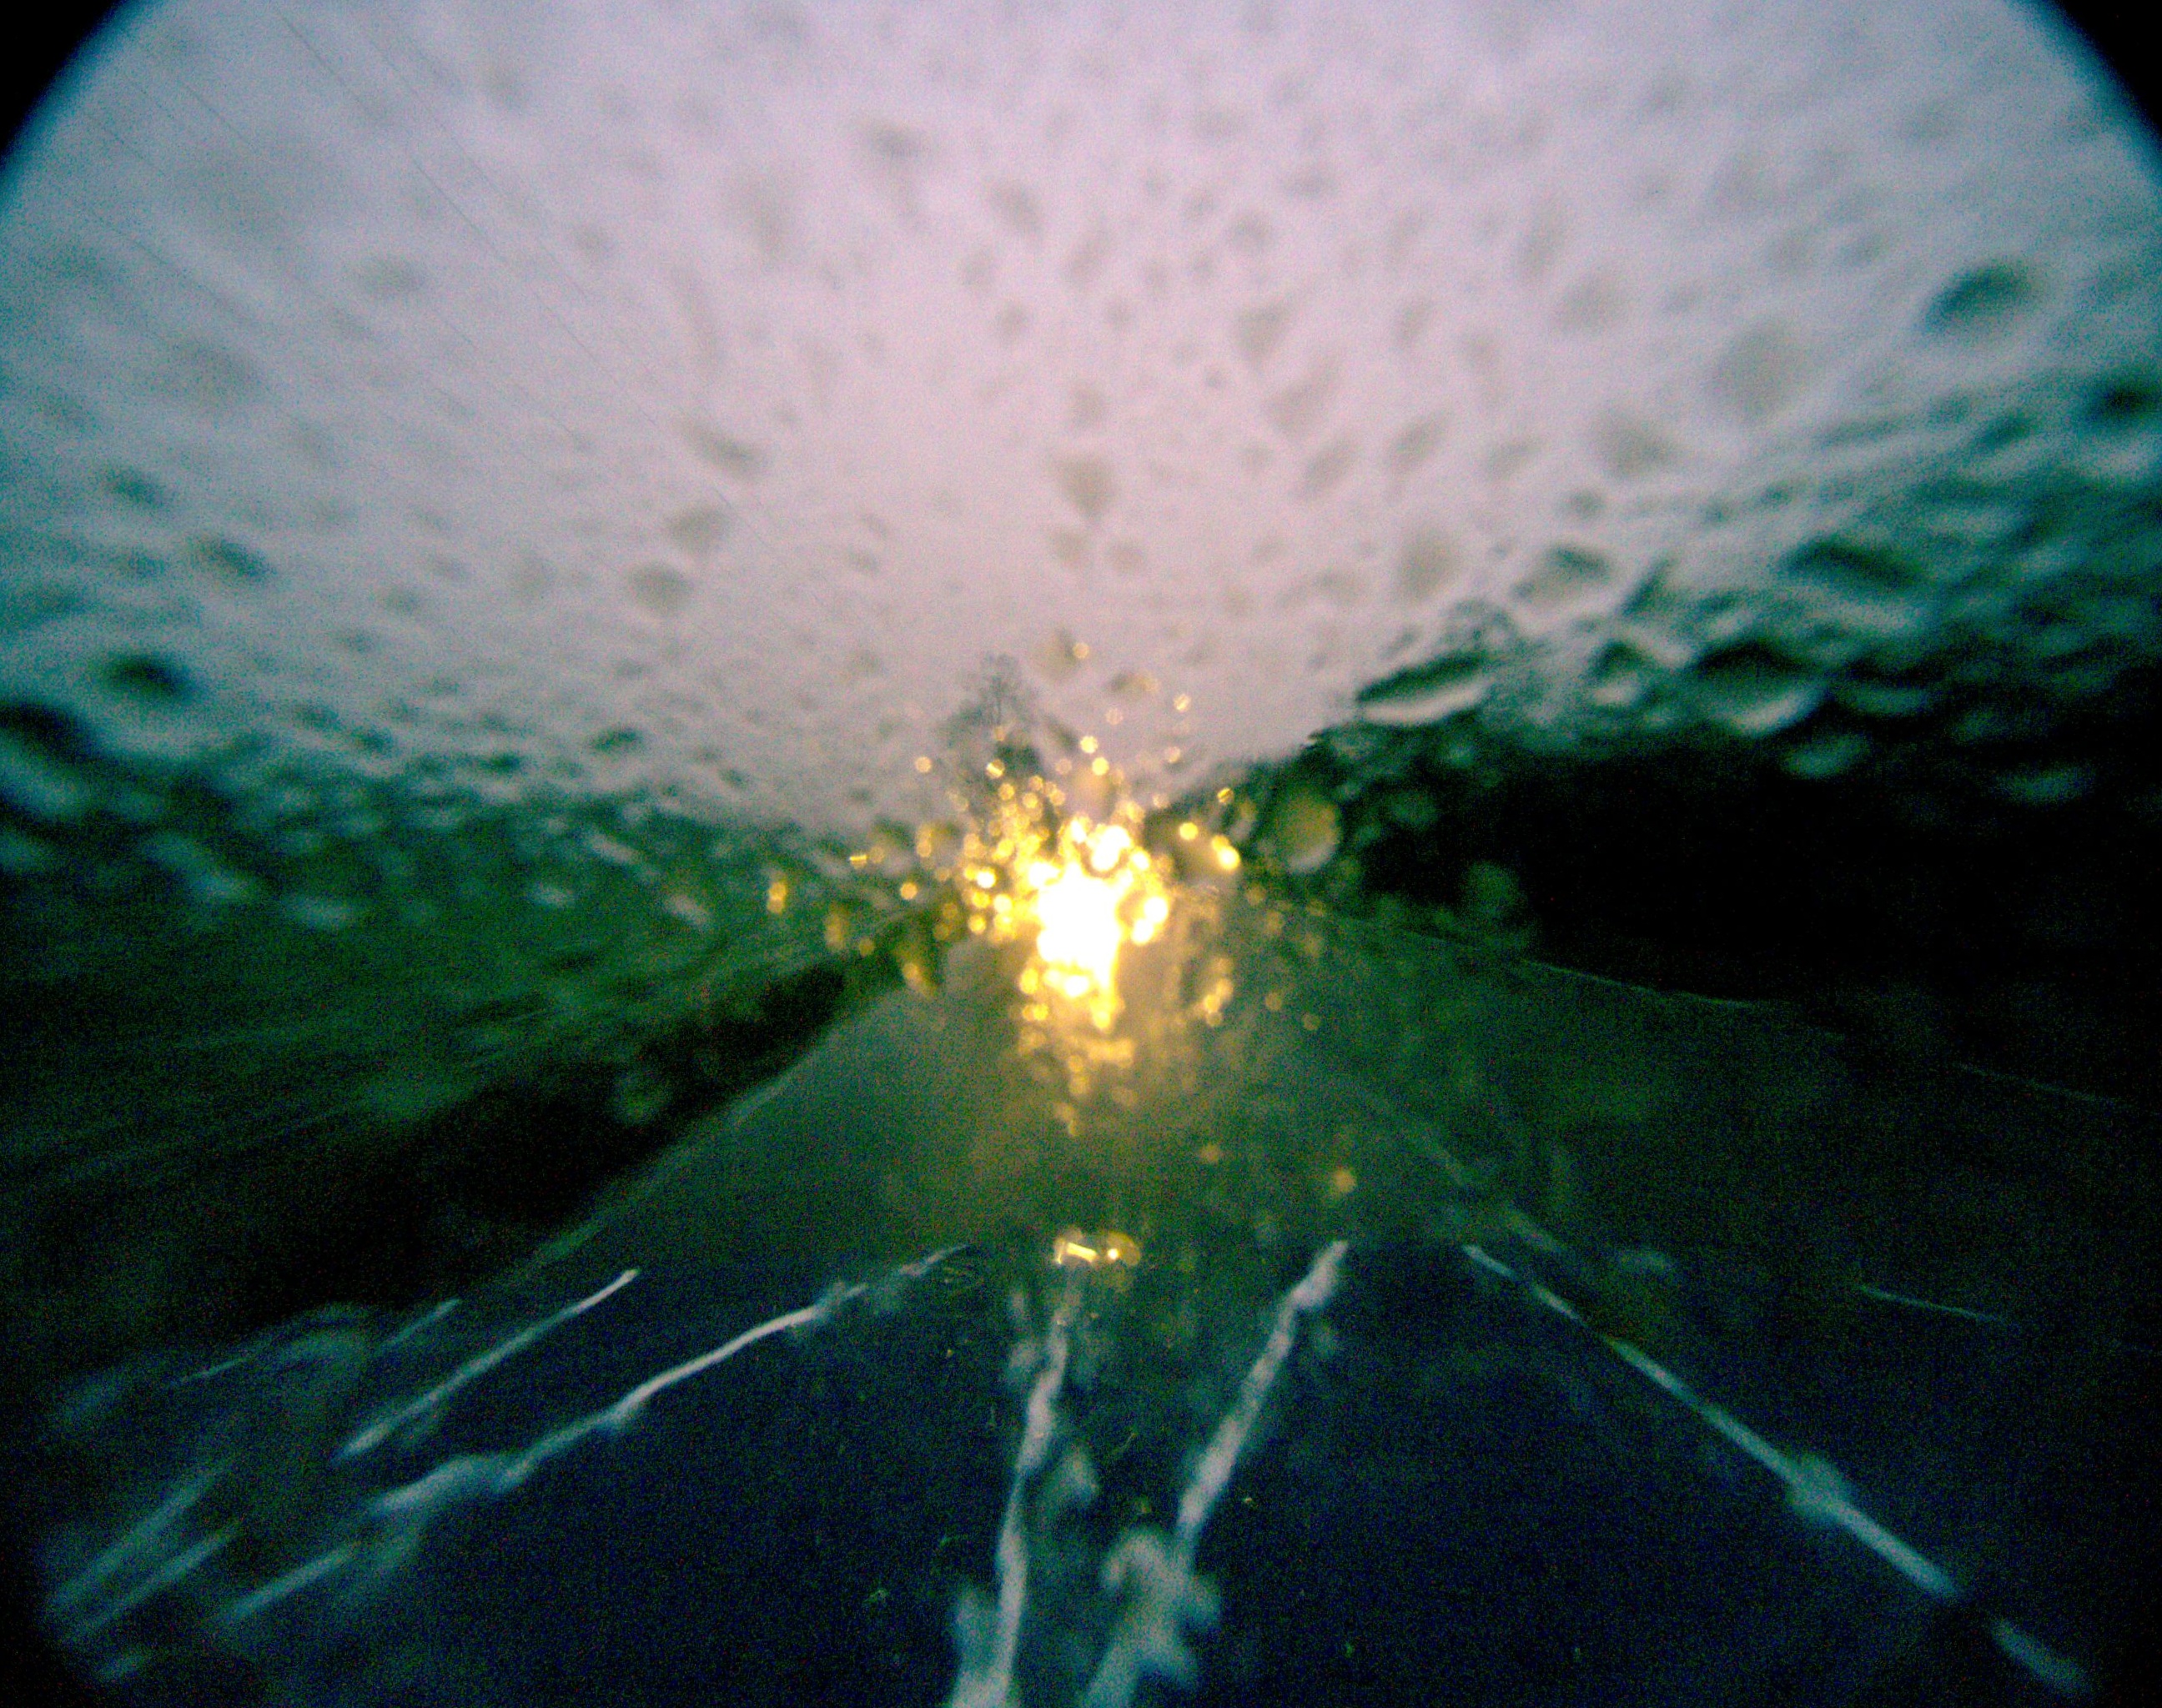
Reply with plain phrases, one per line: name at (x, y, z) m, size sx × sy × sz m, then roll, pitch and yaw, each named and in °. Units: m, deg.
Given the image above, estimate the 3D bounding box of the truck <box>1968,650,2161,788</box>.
truck at (26.325, -3.327, 18.728) m, size 2.456 × 2.870 × 5.583 m, roll -1°, pitch 0°, yaw 0°

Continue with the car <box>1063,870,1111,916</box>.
car at (0.298, 1.649, 33.082) m, size 1.910 × 1.653 × 4.000 m, roll -3°, pitch 1°, yaw 2°

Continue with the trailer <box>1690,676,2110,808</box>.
trailer at (26.383, -3.335, 25.898) m, size 2.442 × 2.874 × 11.084 m, roll -1°, pitch 0°, yaw 0°
